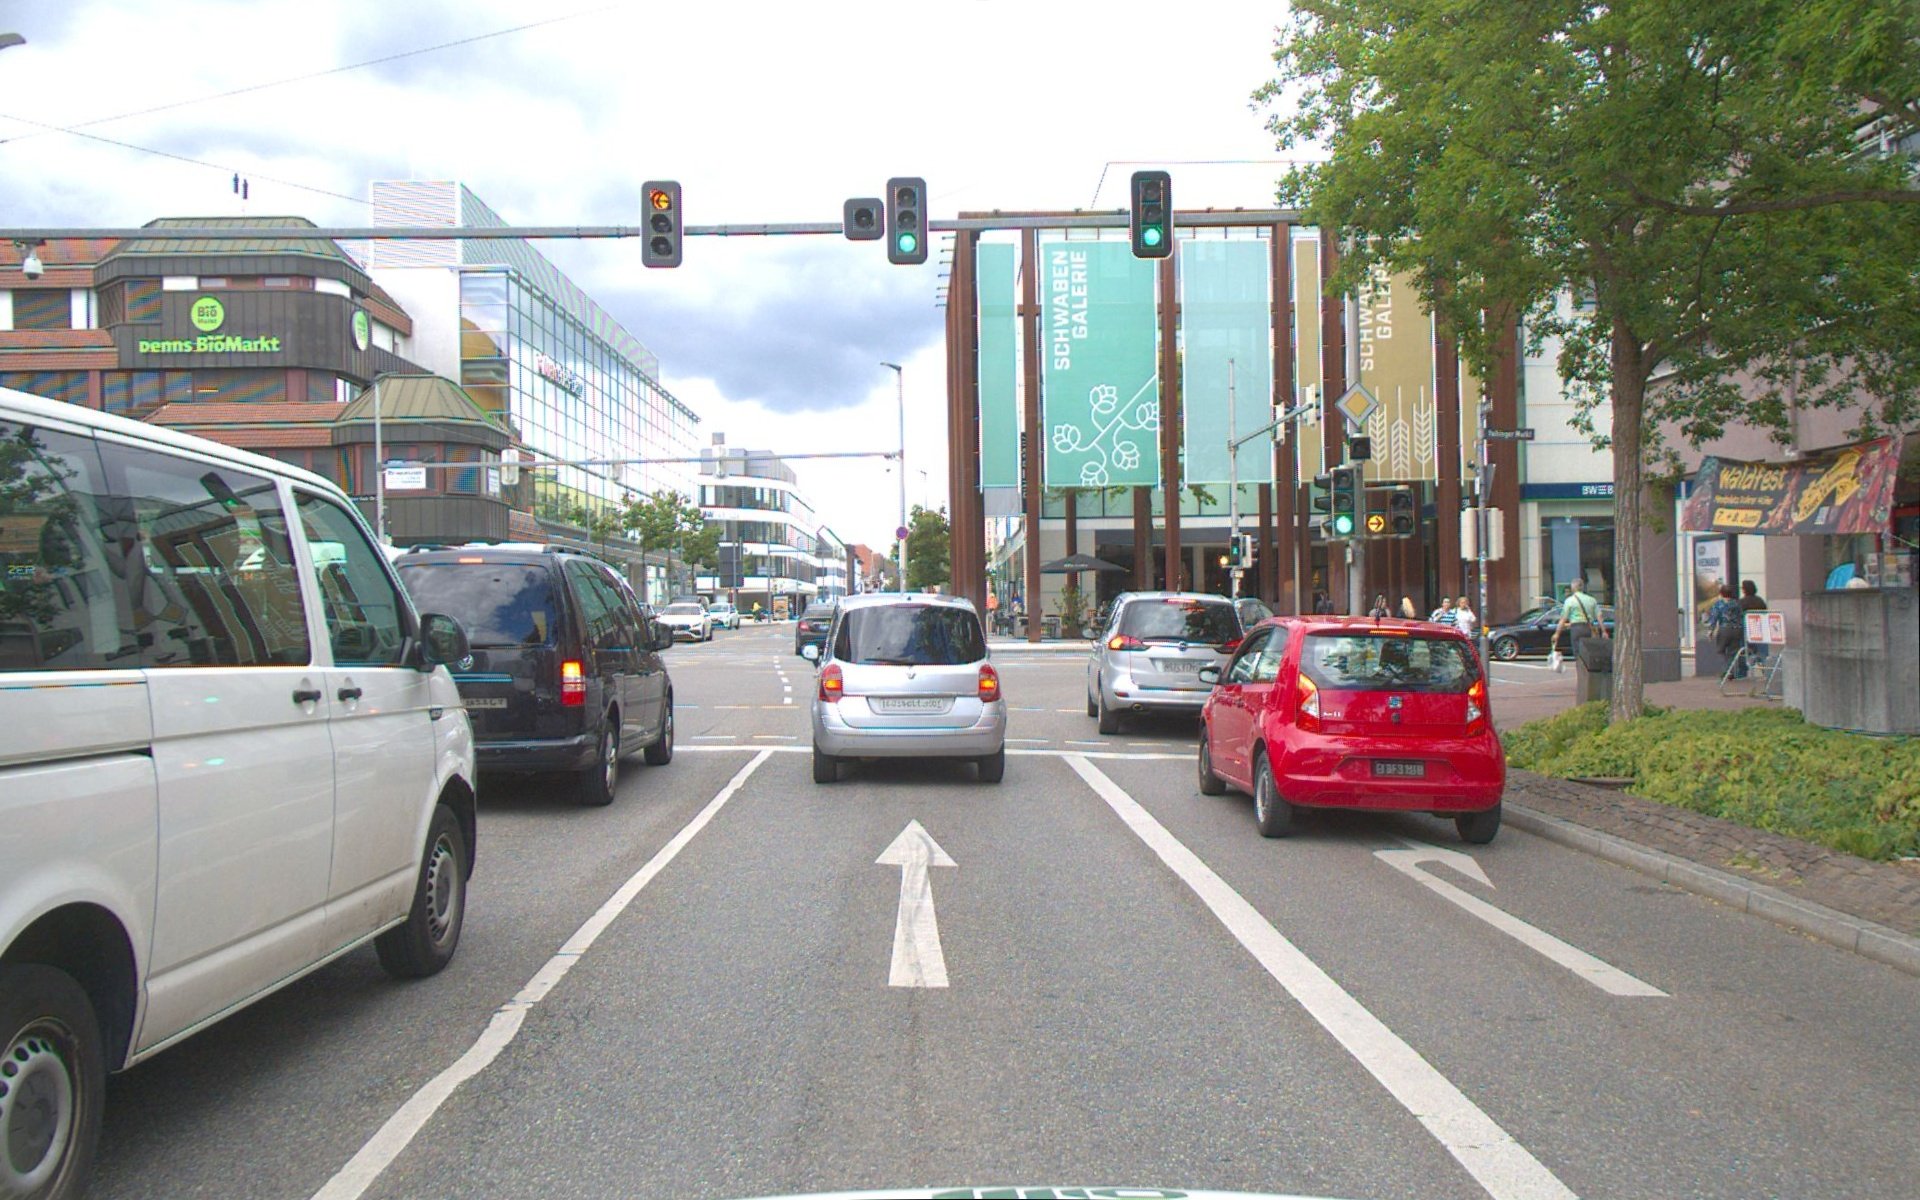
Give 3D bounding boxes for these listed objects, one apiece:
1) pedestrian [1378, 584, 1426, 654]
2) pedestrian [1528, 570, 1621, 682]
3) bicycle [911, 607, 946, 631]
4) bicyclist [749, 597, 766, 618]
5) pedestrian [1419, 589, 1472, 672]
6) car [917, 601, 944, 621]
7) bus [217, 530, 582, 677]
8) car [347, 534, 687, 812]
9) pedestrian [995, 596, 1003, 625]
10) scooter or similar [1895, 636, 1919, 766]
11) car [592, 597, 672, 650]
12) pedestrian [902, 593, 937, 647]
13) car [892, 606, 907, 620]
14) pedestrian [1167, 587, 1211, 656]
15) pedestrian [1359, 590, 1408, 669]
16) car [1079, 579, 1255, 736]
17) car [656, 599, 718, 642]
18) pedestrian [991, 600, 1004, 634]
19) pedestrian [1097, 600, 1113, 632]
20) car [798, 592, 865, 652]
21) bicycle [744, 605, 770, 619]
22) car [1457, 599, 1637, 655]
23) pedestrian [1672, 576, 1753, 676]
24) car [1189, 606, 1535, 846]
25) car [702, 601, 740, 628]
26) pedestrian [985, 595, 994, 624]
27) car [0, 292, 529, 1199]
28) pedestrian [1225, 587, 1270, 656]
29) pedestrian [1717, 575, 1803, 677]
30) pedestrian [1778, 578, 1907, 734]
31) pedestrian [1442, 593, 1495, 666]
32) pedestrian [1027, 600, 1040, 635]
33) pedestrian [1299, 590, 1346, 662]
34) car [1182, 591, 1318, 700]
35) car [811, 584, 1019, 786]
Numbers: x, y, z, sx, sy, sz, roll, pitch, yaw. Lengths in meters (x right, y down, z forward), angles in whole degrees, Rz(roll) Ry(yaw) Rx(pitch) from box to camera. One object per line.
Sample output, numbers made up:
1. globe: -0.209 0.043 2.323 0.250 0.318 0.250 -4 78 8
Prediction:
1. pedestrian: 11.560 0.487 43.286 0.861 1.798 1.119 -1 0 -4
2. pedestrian: 9.786 0.408 26.360 1.034 1.745 1.109 0 0 -2
3. bicycle: -1.404 0.837 73.616 1.528 1.010 0.752 -1 0 2
4. bicyclist: -16.176 0.595 132.164 0.995 1.689 0.924 2 -1 -29
5. pedestrian: 9.878 0.612 33.679 0.727 1.654 0.953 -1 0 -5
6. car: -2.092 0.794 117.762 1.839 1.358 3.999 1 0 -1
7. bus: -14.924 -0.014 45.826 2.924 3.385 12.315 -3 0 16
8. car: -3.376 0.498 13.501 1.673 1.852 4.569 1 0 -2
9. pedestrian: 2.133 0.570 90.760 0.418 1.576 0.481 -1 0 -3
10. scooter or similar: 8.665 0.858 13.577 0.462 1.106 1.878 -1 -1 -18
11. car: -9.893 0.687 50.163 1.709 1.484 3.817 -1 0 -1
12. pedestrian: -1.266 0.623 52.103 0.854 1.675 0.678 0 0 33
13. car: -6.816 1.461 186.066 1.626 1.491 3.999 -2 0 -1
14. pedestrian: 5.776 0.539 41.830 0.861 1.711 1.119 -1 0 -4
15. pedestrian: 9.051 0.626 35.360 0.727 1.654 0.953 -1 0 -5
16. car: 2.494 0.644 20.817 1.703 1.730 4.381 1 0 1
17. car: -10.221 0.746 62.193 1.709 1.484 4.234 -1 0 -2
18. pedestrian: 1.372 0.614 60.222 0.438 1.241 0.606 -1 0 1
19. pedestrian: 5.657 0.611 64.571 0.505 1.229 0.795 -1 1 -3
20. car: -3.564 0.594 46.237 1.636 1.581 3.641 1 0 -1
21. bicycle: -16.266 0.977 132.304 0.995 1.036 3.100 2 0 -29
22. car: 15.300 0.695 43.224 4.090 1.429 1.799 0 0 -4
23. pedestrian: 12.159 0.413 26.755 0.814 1.586 0.968 0 0 -5
24. car: 2.803 0.809 12.303 1.593 1.473 3.641 1 0 -1
25. car: -13.730 0.822 95.220 1.626 1.491 3.999 -2 0 -1
26. pedestrian: 1.613 0.510 90.741 0.418 1.576 0.481 -1 0 -3
27. car: -2.891 0.411 5.029 1.953 2.049 4.838 1 0 -1
28. pedestrian: 7.292 0.546 41.961 0.861 1.711 1.119 -1 0 -4
29. pedestrian: 12.970 0.411 26.840 0.814 1.612 1.057 0 0 -6
30. pedestrian: 9.777 0.601 18.360 0.792 1.654 1.092 -1 0 -4
31. pedestrian: 11.544 0.663 37.569 0.805 1.623 1.038 0 0 -5
32. pedestrian: 2.672 0.638 60.183 0.438 1.241 0.607 -1 0 3
33. pedestrian: 9.152 0.649 41.812 0.861 1.798 1.119 -1 0 -4
34. car: 4.976 0.694 27.900 1.812 1.637 4.865 1 0 15
35. car: -0.401 0.684 15.097 1.636 1.581 3.641 1 0 -1
